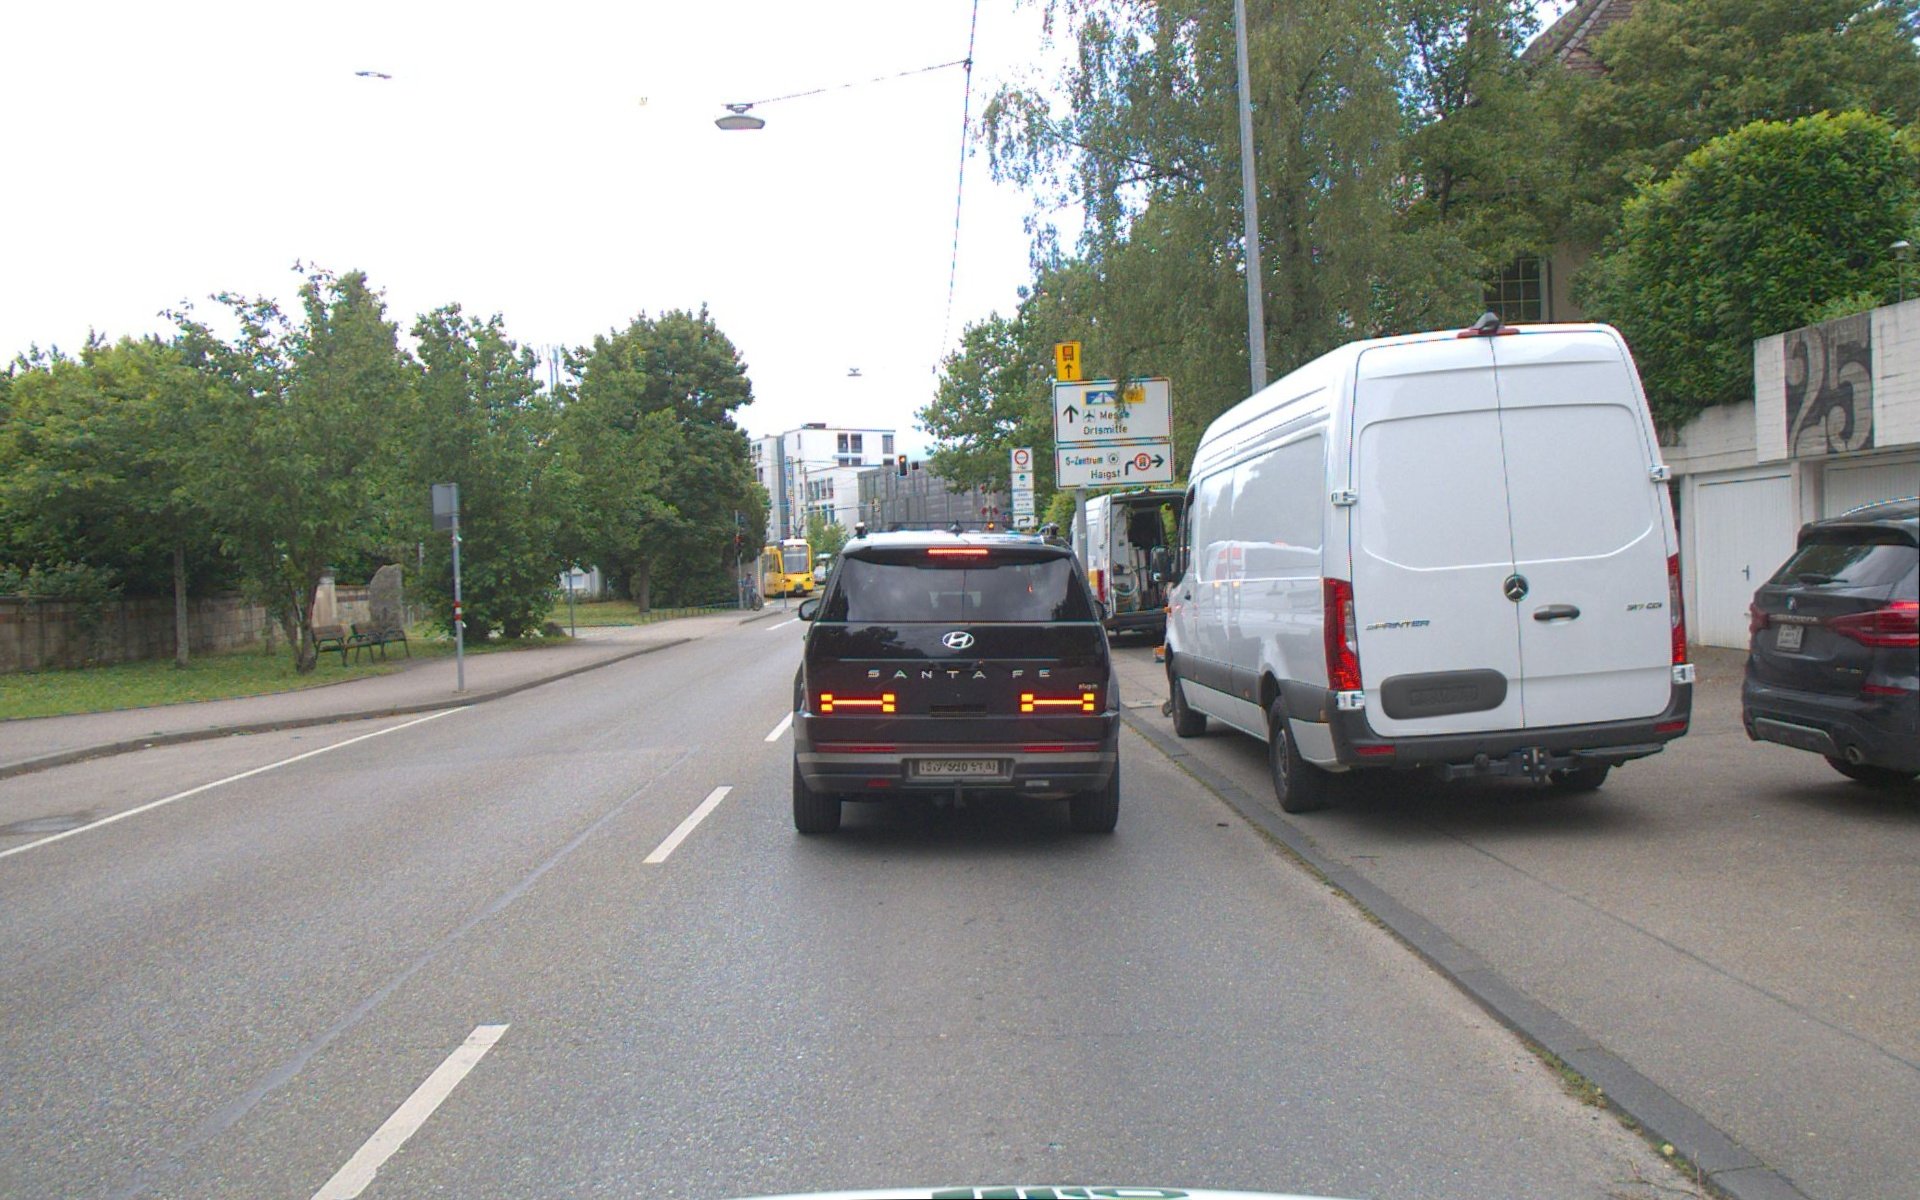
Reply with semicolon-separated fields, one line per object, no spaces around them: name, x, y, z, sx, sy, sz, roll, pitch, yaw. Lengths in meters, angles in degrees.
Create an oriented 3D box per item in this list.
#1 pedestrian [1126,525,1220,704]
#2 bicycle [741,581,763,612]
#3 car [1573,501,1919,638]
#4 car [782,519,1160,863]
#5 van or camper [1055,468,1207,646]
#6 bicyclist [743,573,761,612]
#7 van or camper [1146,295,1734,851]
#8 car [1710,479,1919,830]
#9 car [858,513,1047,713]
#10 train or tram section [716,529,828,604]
pedestrian;2.201;0.147;17.102;0.609;1.773;0.601;-5;1;-24
bicycle;-9.163;-0.134;72.886;0.664;1.301;2.491;0;-1;-14
car;10.786;-0.423;22.818;3.908;1.741;1.969;-1;1;-3
car;0.005;0.432;10.525;1.924;1.741;3.999;-1;1;-2
van or camper;3.026;-0.768;30.373;1.924;2.845;5.285;-4;1;-2
bicyclist;-9.162;-0.319;72.919;0.664;1.688;0.855;0;-1;-15
van or camper;2.796;-0.197;11.544;1.924;2.673;6.357;-4;1;-2
car;6.615;0.142;8.878;4.304;1.681;1.830;-3;1;0
car;-0.130;0.092;19.100;1.924;2.036;3.999;-1;1;-2
train or tram section;-13.508;-2.157;116.451;3.148;4.602;18.560;0;-1;-21
